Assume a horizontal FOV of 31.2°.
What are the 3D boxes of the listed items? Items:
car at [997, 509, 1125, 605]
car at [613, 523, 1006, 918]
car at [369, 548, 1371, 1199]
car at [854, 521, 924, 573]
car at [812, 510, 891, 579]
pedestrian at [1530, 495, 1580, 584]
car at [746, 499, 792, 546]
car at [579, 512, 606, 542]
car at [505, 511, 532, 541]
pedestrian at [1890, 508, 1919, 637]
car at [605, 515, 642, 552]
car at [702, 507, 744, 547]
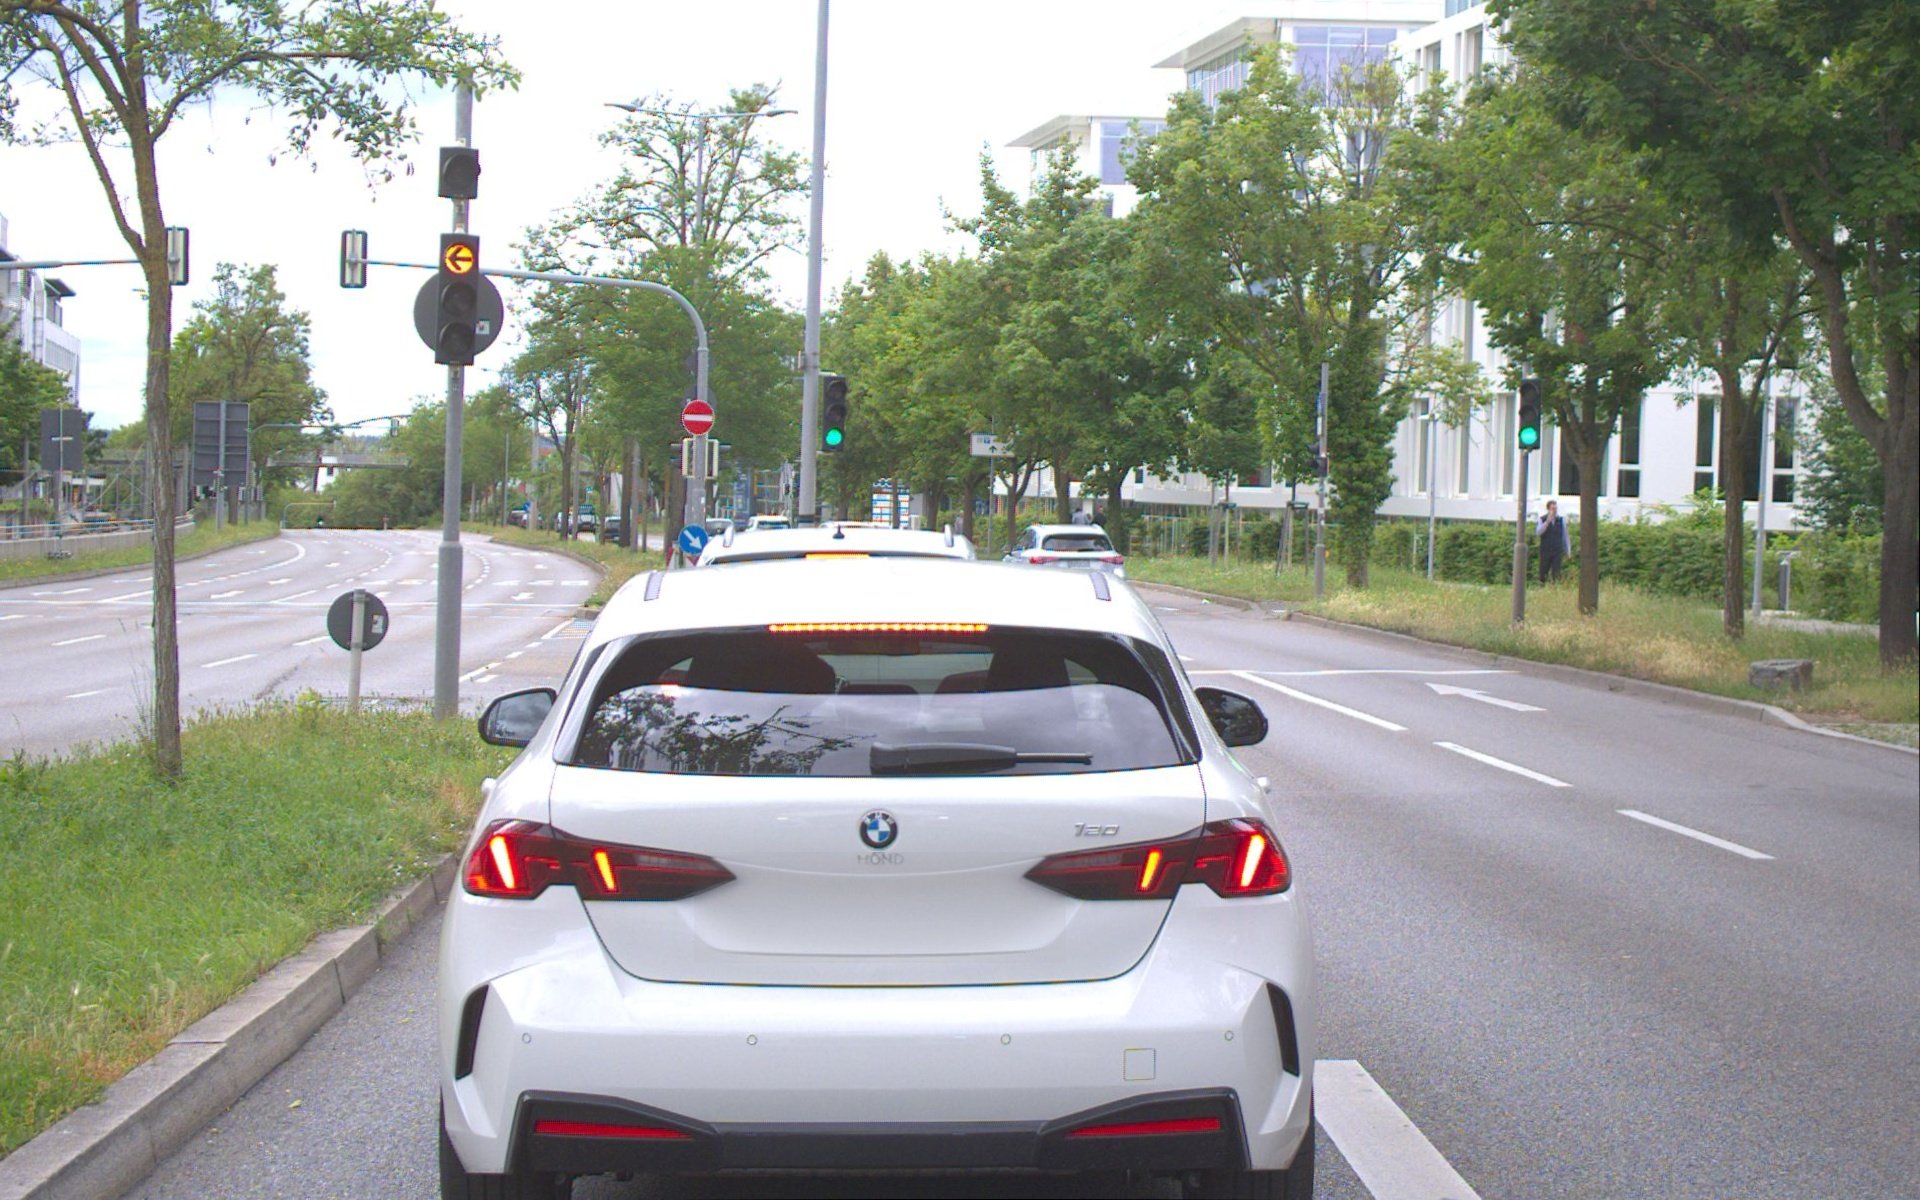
[{"bbox_3d":[1.790,-0.789,62.064,1.993,1.664,4.001,0,1,-3],"label":"car"},{"bbox_3d":[-0.628,0.449,15.863,1.549,1.563,4.000,1,1,-1],"label":"car"},{"bbox_3d":[-0.191,0.620,8.345,1.822,1.433,4.000,1,1,-1],"label":"car"},{"bbox_3d":[-2.101,-1.572,101.067,1.692,1.481,3.694,1,1,-7],"label":"car"},{"bbox_3d":[-2.859,-1.456,89.727,1.695,1.711,4.001,1,1,-7],"label":"car"},{"bbox_3d":[10.684,-1.087,61.717,0.741,1.568,0.674,1,0,-1],"label":"pedestrian"},{"bbox_3d":[-7.053,-2.838,126.623,1.601,1.661,4.001,1,1,-4],"label":"car"},{"bbox_3d":[-25.186,-4.972,235.529,1.837,2.007,4.001,1,1,-6],"label":"car"},{"bbox_3d":[-31.068,-5.212,241.935,1.837,2.007,4.001,1,1,-6],"label":"car"},{"bbox_3d":[11.134,-0.307,39.052,0.789,1.443,1.112,1,0,-1],"label":"pedestrian"},{"bbox_3d":[-15.819,-3.139,161.751,1.601,1.661,4.001,1,1,-4],"label":"car"},{"bbox_3d":[-10.136,-3.107,147.066,1.738,1.661,4.001,1,1,-4],"label":"car"}]
